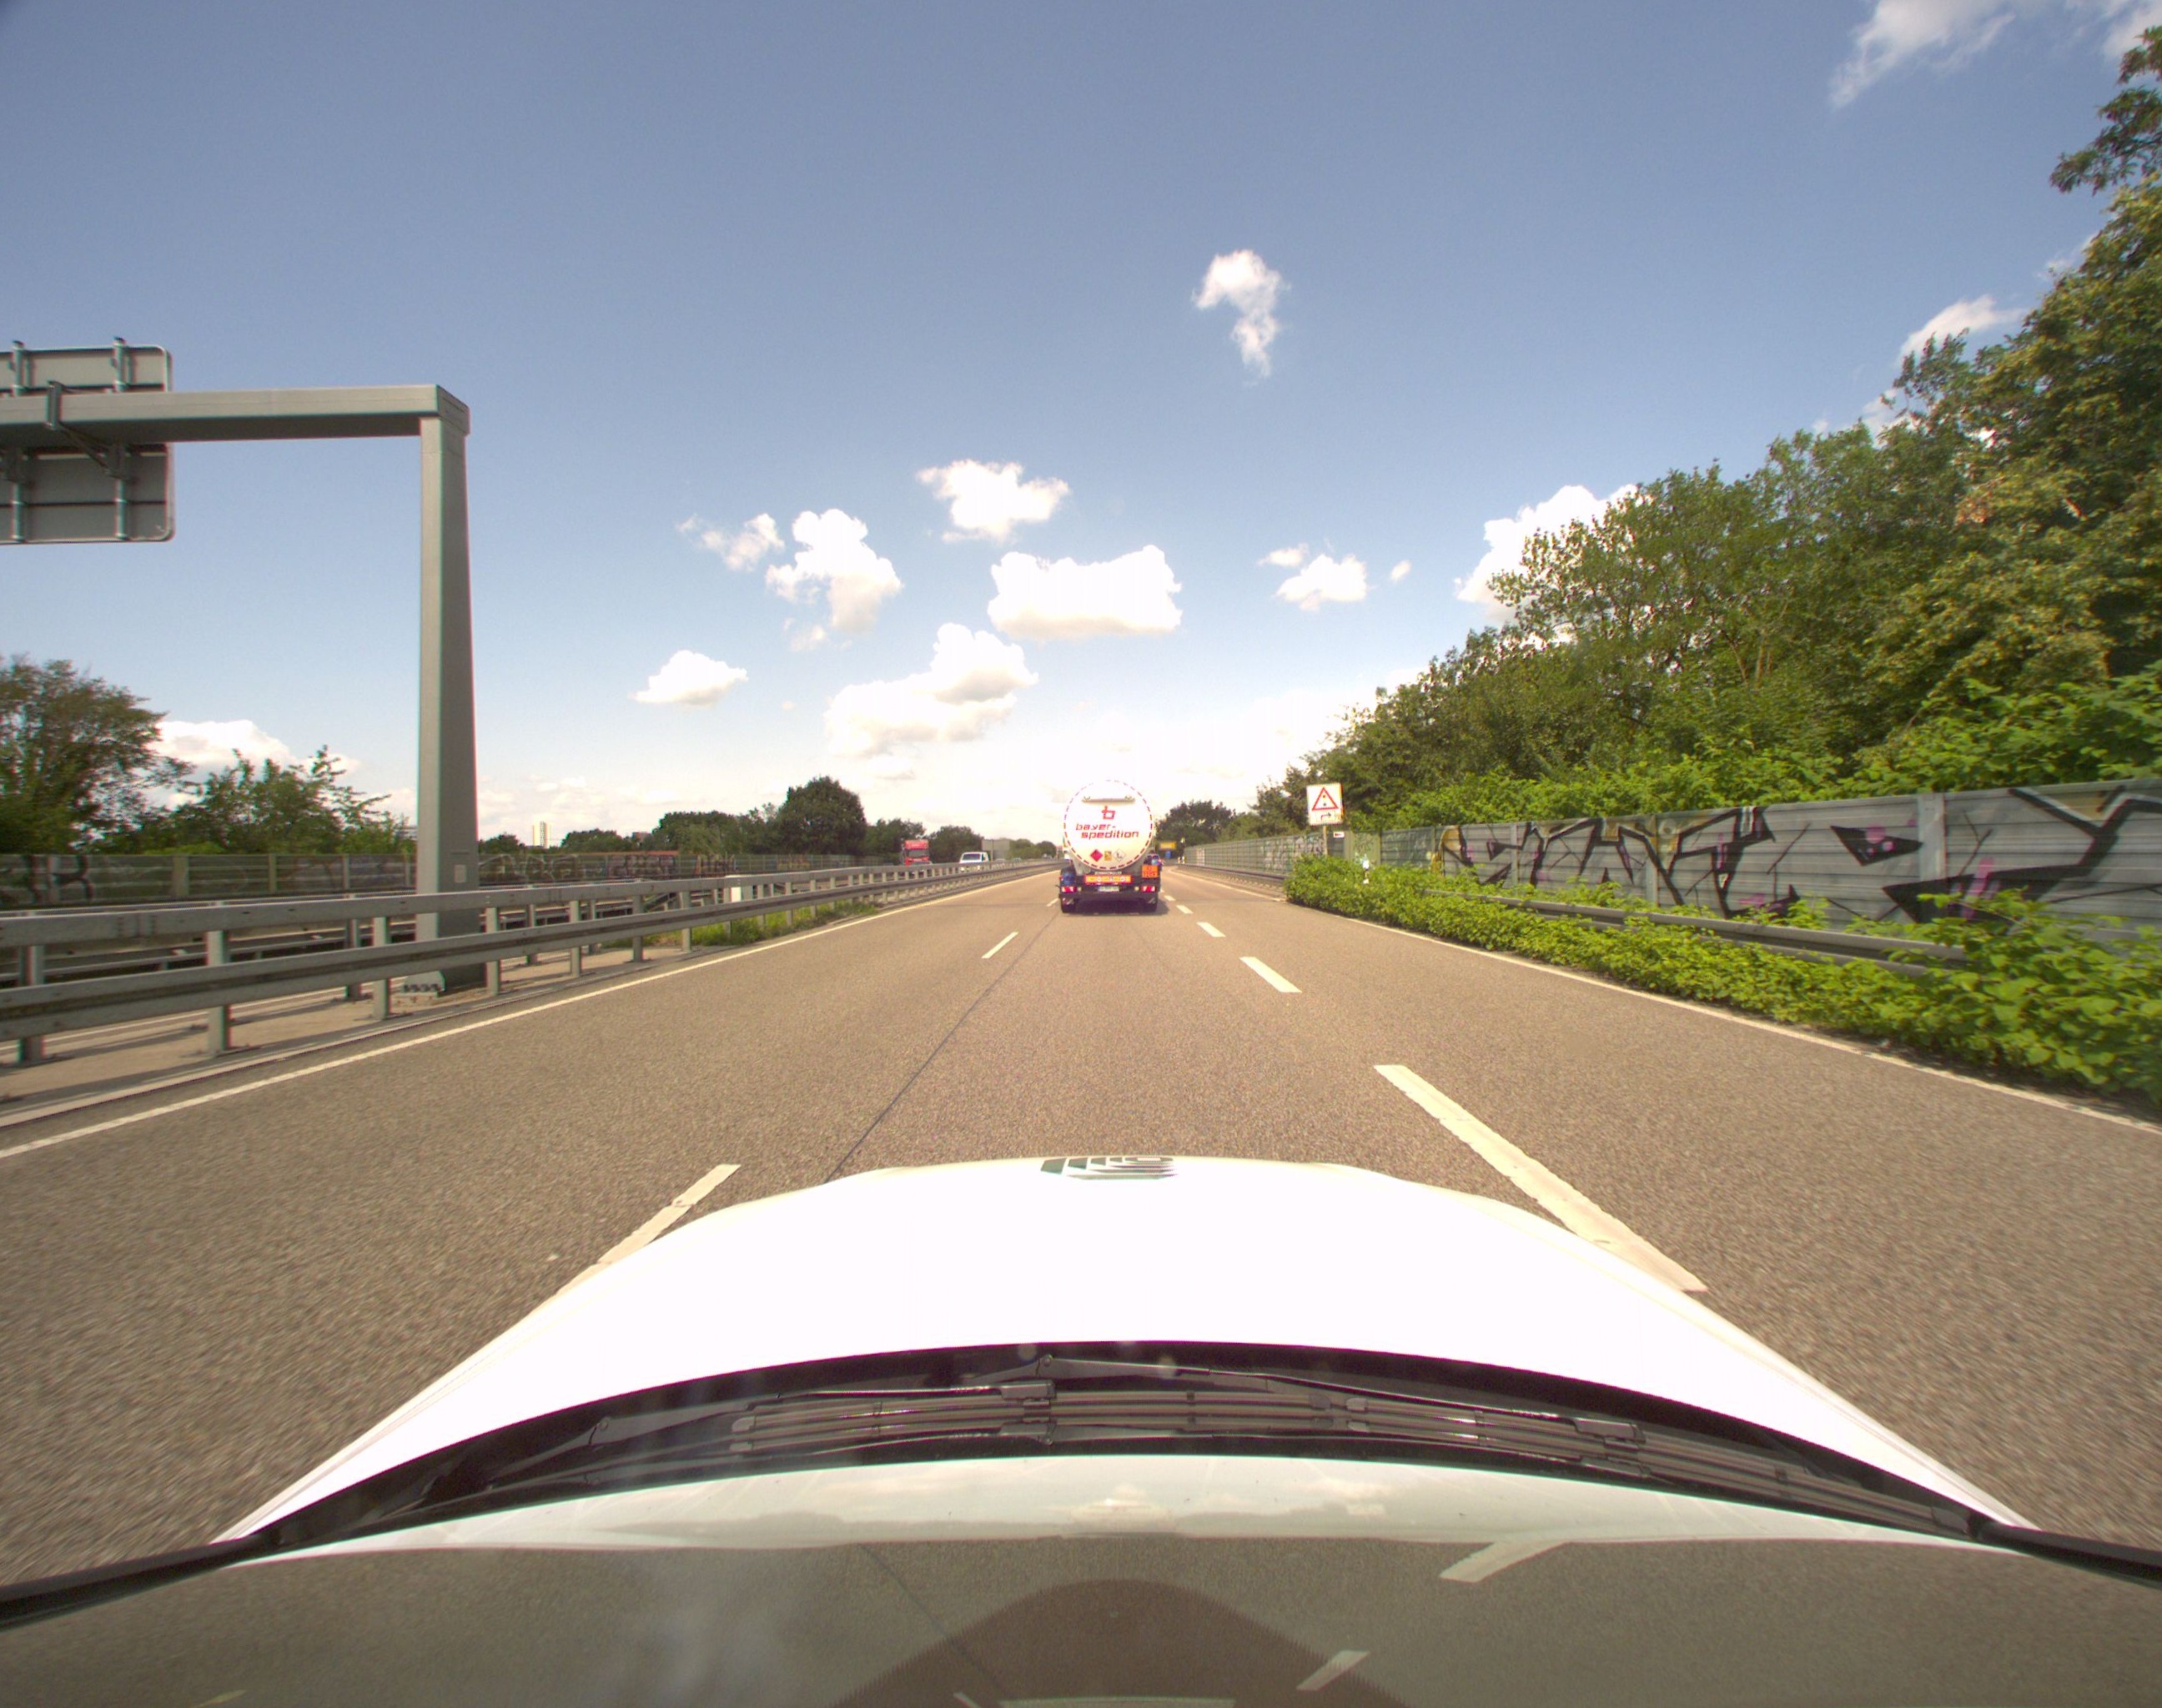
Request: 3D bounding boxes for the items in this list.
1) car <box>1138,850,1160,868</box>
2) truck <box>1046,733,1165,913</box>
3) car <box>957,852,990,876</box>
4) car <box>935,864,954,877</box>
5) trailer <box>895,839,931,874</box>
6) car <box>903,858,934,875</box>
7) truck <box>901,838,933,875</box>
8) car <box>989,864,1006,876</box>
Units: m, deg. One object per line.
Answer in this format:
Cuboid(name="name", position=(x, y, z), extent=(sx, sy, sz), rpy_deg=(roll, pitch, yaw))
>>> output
Cuboid(name="car", position=(6.706, 0.514, 80.596), extent=(1.986, 1.706, 4.002), rpy_deg=(0, -1, 2))
Cuboid(name="truck", position=(0.733, -0.737, 23.803), extent=(2.884, 4.369, 8.032), rpy_deg=(0, -1, 2))
Cuboid(name="car", position=(-9.084, 0.822, 69.062), extent=(2.073, 1.989, 5.227), rpy_deg=(0, -1, 0))
Cuboid(name="car", position=(-18.312, 2.182, 109.435), extent=(1.709, 1.619, 4.281), rpy_deg=(-3, -1, 0))
Cuboid(name="trailer", position=(-19.123, 0.282, 92.096), extent=(2.692, 3.670, 10.958), rpy_deg=(0, -1, -19))
Cuboid(name="car", position=(-13.536, 1.030, 67.924), extent=(1.683, 1.431, 4.401), rpy_deg=(0, -1, 0))
Cuboid(name="truck", position=(-17.548, 0.255, 86.890), extent=(2.655, 3.782, 6.196), rpy_deg=(0, -1, -17))
Cuboid(name="car", position=(-11.284, 2.153, 109.912), extent=(1.776, 1.509, 3.961), rpy_deg=(0, -1, 2))
